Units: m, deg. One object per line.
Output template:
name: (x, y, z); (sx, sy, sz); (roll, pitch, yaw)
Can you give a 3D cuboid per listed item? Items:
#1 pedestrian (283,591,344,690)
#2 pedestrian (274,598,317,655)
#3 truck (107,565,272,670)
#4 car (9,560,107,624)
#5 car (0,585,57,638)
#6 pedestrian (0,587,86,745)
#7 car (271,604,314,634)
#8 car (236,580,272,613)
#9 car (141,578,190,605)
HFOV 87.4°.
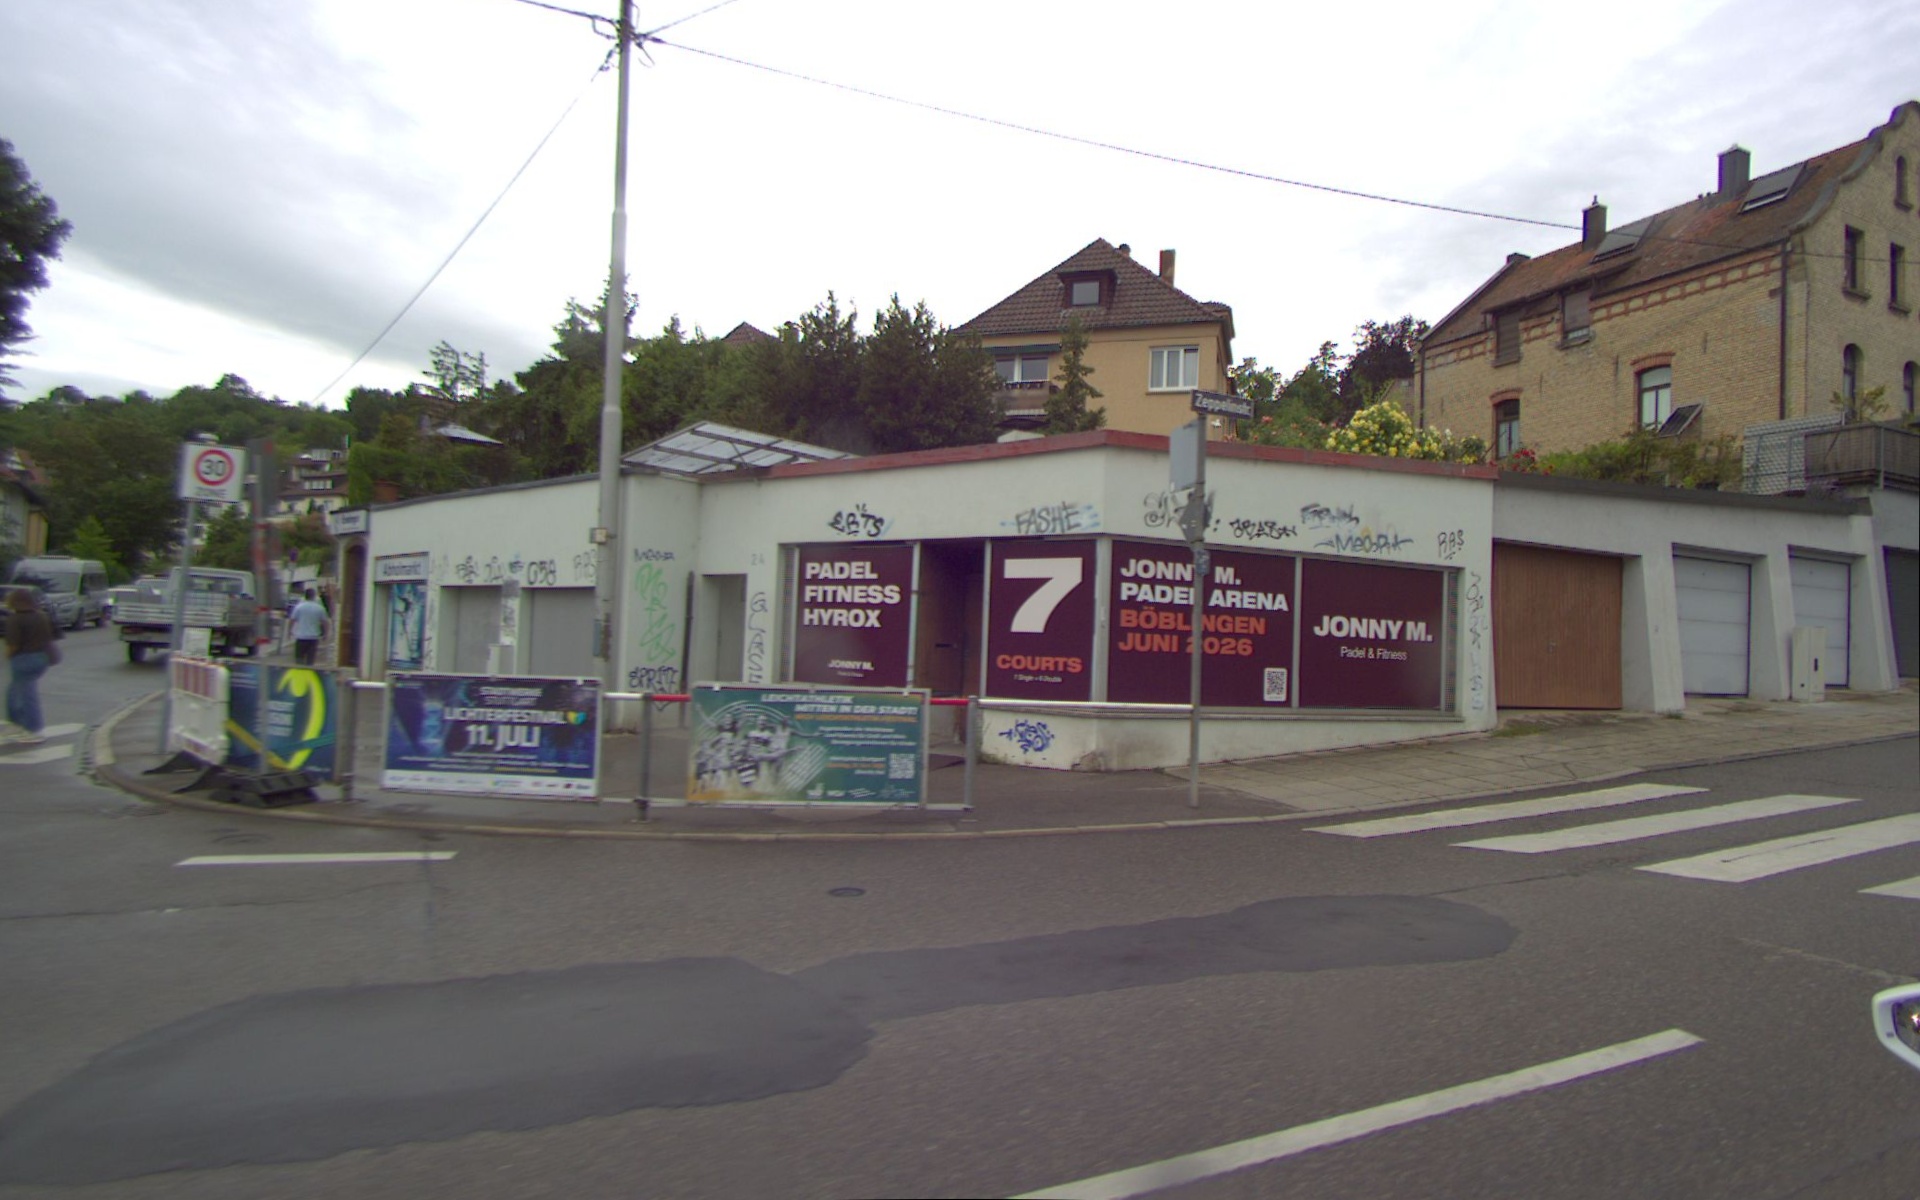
pedestrian: (-12.392, 0.752, 19.256); (0.695, 1.830, 0.805); (2, 1, 39)
pedestrian: (-18.591, 0.733, 28.107); (0.879, 1.525, 0.972); (0, 3, -27)
truck: (-19.274, 0.372, 25.501); (2.287, 2.299, 6.757); (2, 0, -29)
car: (-32.378, -0.288, 36.203); (1.818, 2.151, 4.995); (0, 1, -33)
car: (-29.669, 0.326, 31.422); (1.525, 1.548, 3.647); (0, 1, -33)
pedestrian: (-10.387, 0.726, 11.264); (0.572, 1.711, 0.627); (0, -2, 11)
car: (-40.498, 1.123, 61.025); (1.977, 1.662, 3.966); (0, 1, -31)
car: (-54.978, -0.287, 78.205); (1.984, 2.464, 3.952); (0, 1, -40)
car: (-48.280, -0.527, 61.077); (1.717, 1.606, 3.969); (0, 1, -29)
